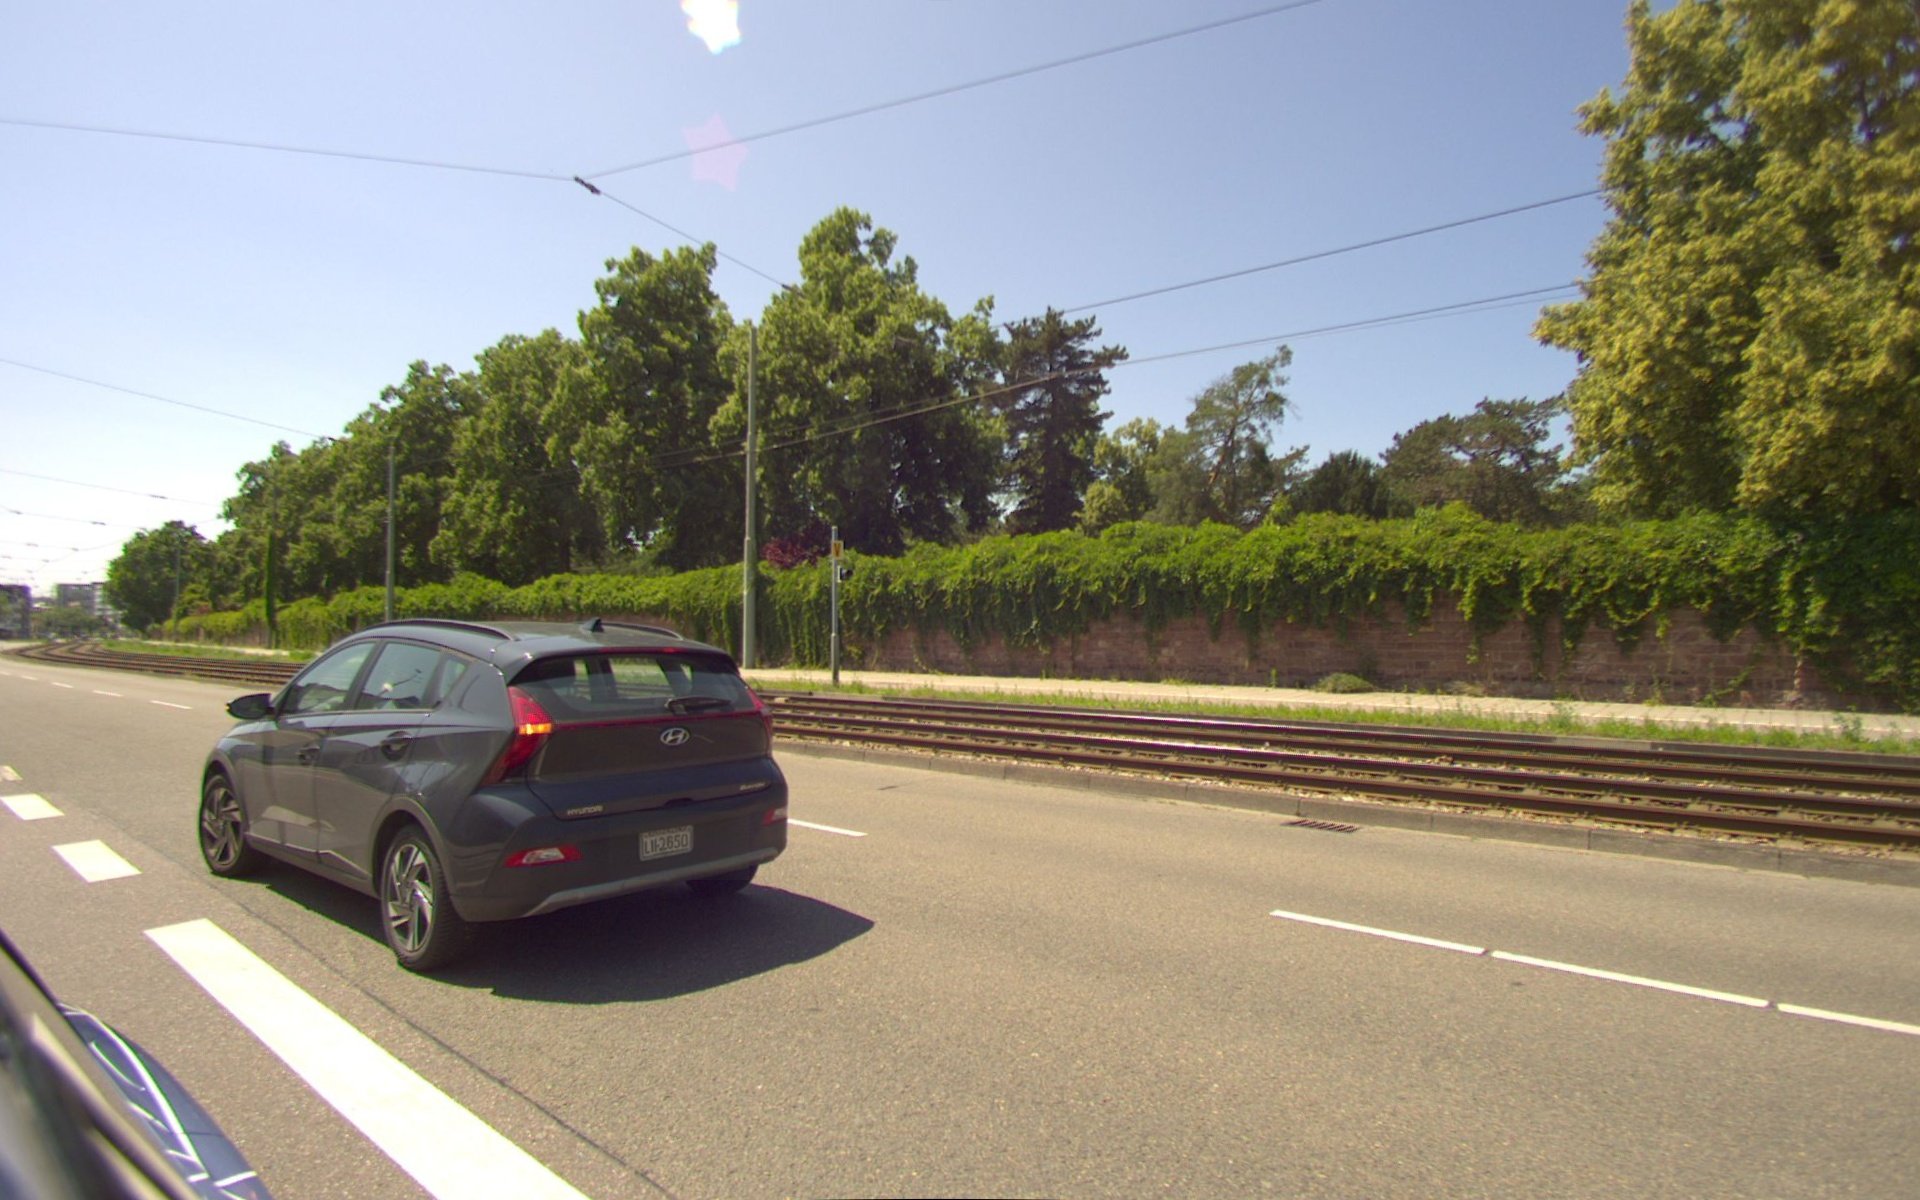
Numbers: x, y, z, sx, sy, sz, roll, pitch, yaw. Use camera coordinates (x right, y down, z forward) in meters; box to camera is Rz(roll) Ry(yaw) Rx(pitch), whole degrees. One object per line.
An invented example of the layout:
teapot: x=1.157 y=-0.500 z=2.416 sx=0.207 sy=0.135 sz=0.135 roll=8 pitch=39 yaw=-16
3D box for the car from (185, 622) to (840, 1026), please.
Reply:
car: x=-2.697 y=0.865 z=5.613 sx=4.139 sy=1.433 sz=1.696 roll=-2 pitch=-2 yaw=40
